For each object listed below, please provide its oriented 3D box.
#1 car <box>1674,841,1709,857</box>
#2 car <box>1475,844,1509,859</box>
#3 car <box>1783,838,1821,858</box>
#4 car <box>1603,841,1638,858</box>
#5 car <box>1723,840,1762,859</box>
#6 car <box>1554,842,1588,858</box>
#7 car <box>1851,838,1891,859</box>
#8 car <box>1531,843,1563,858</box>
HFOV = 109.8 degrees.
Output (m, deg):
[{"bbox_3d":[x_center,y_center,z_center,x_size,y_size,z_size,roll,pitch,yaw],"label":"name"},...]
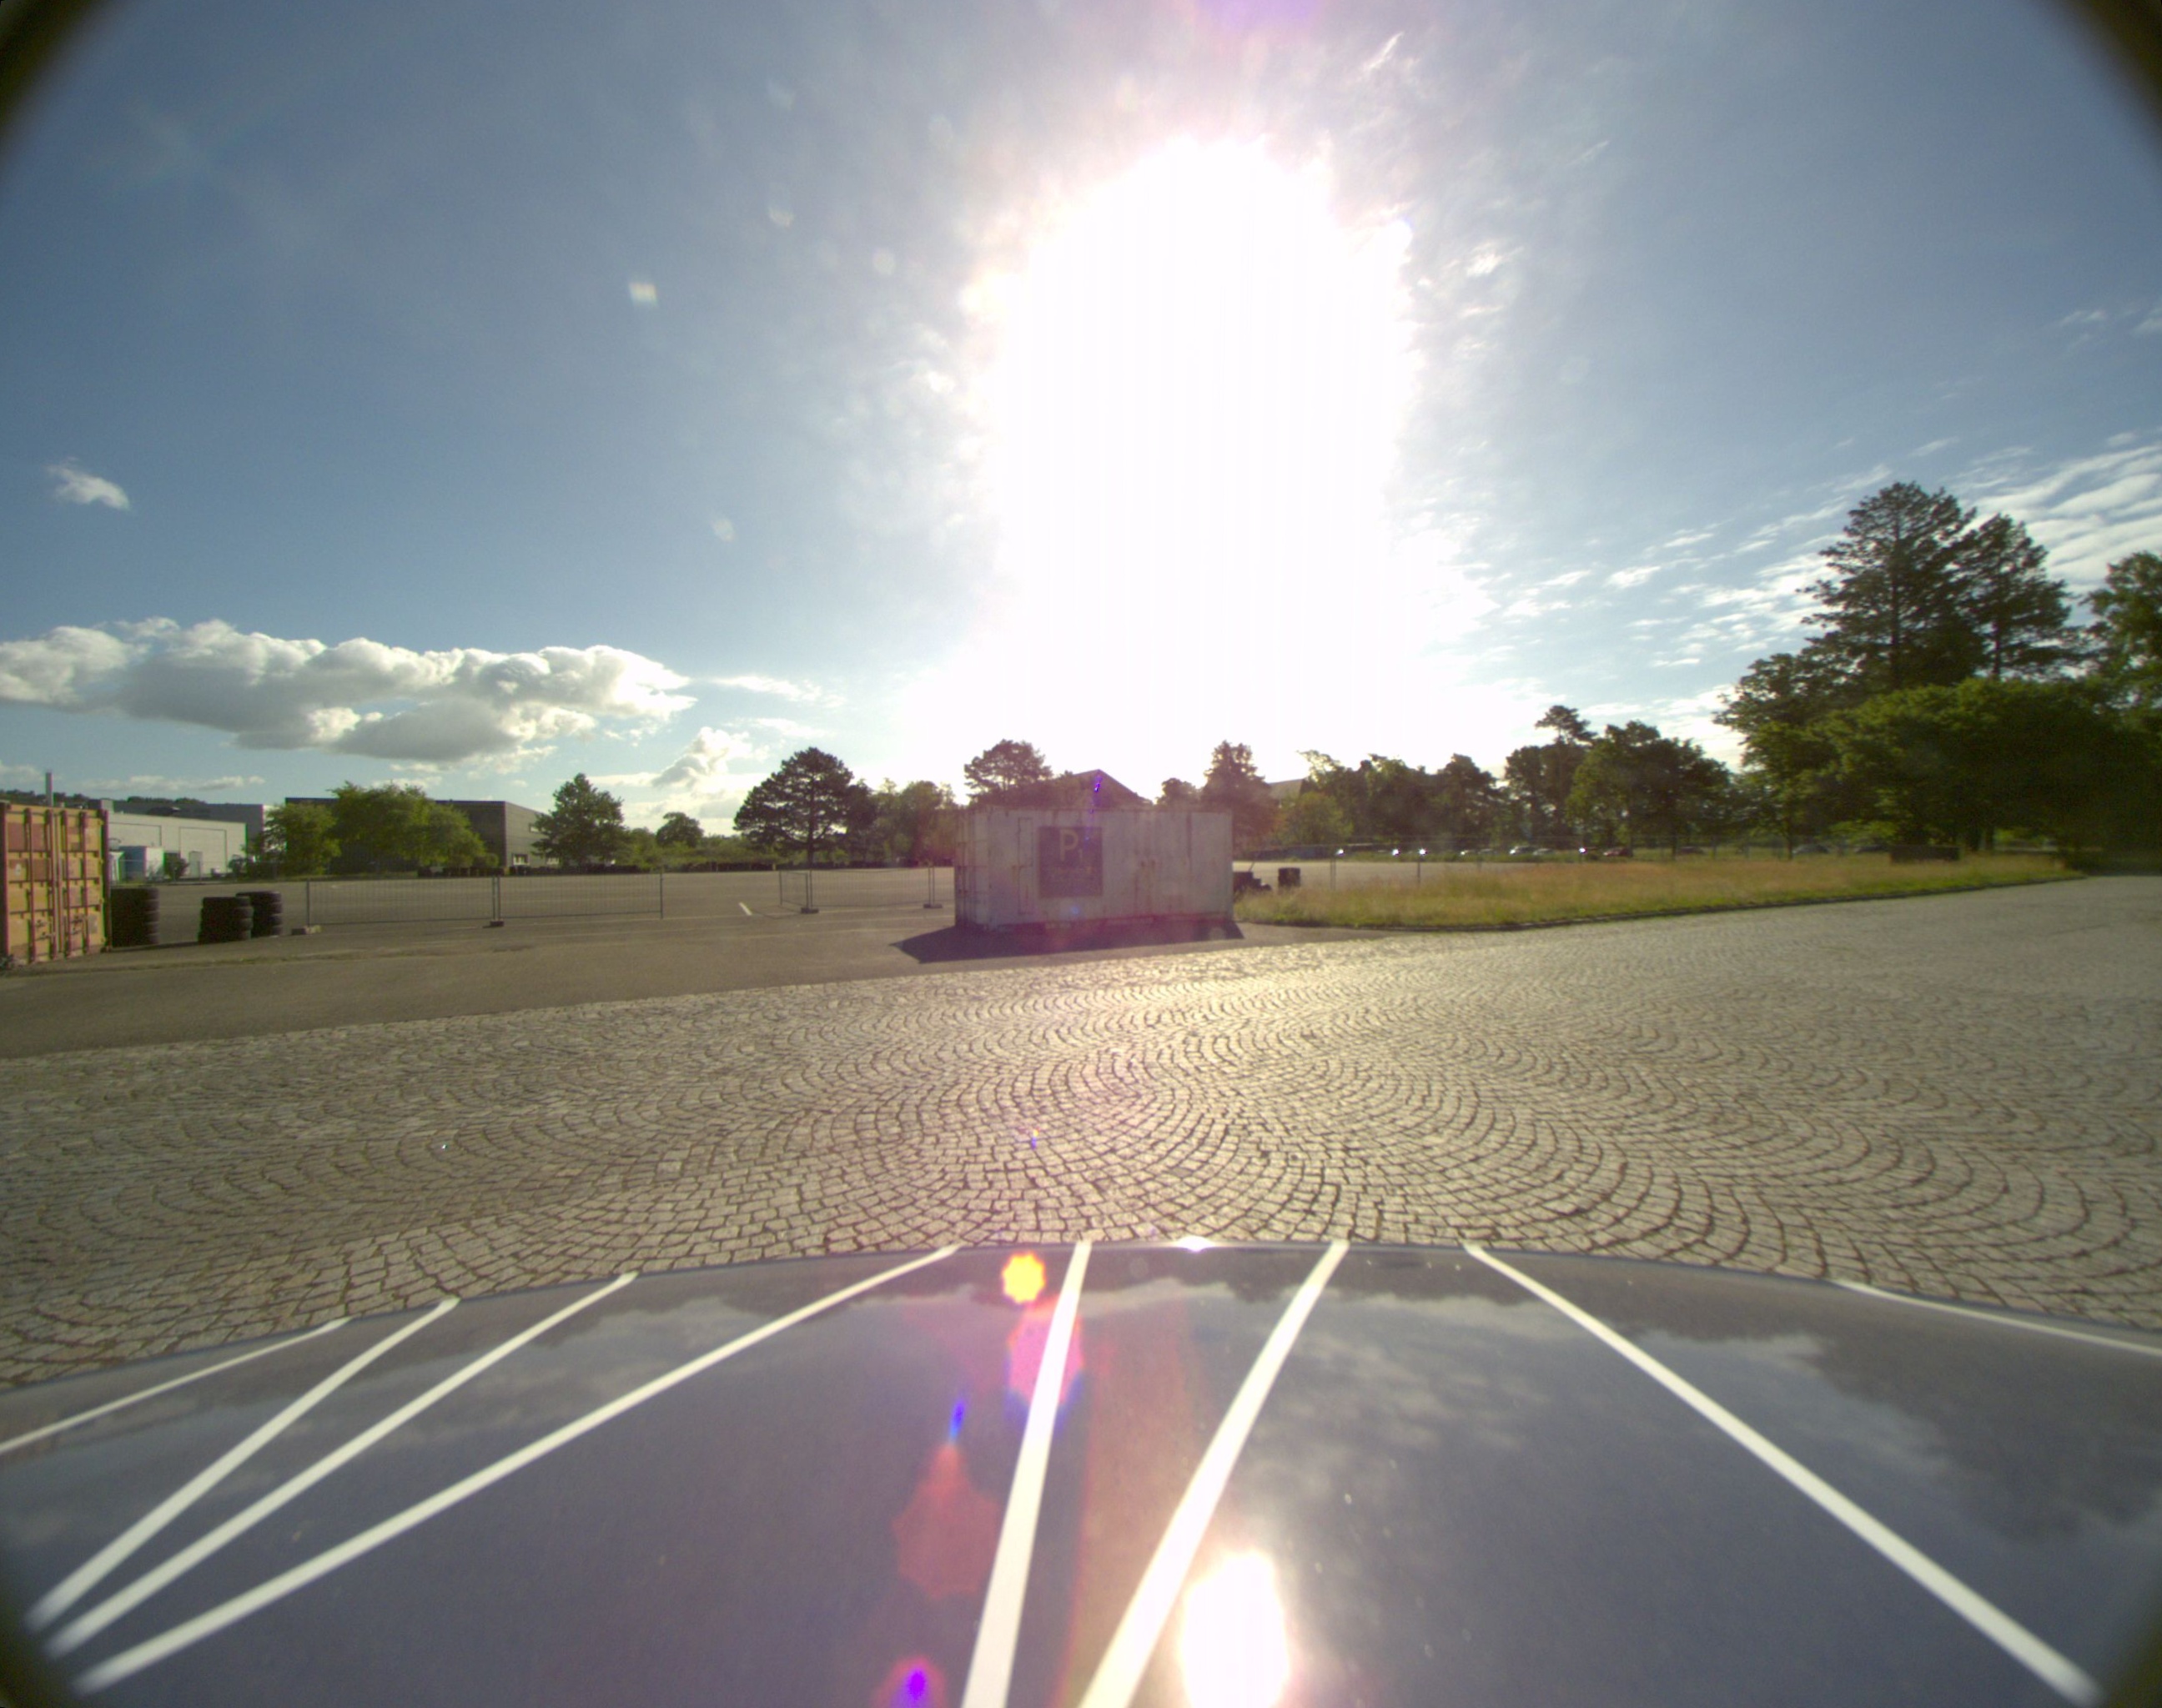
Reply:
[{"bbox_3d":[69.505,-0.594,86.545,4.007,1.805,1.995,-1,1,-34],"label":"car"},{"bbox_3d":[58.624,-0.319,108.298,4.004,2.001,1.997,-2,-2,-20],"label":"car"},{"bbox_3d":[73.735,-0.576,77.659,4.007,2.002,1.995,-1,1,-34],"label":"car"},{"bbox_3d":[66.203,-0.535,93.234,4.006,2.002,1.995,-1,1,-29],"label":"car"},{"bbox_3d":[71.946,-0.520,82.588,4.006,2.002,1.995,-1,1,-30],"label":"car"},{"bbox_3d":[64.325,-0.562,99.777,4.006,2.002,1.995,-1,1,-27],"label":"car"},{"bbox_3d":[75.868,-0.556,72.941,4.007,2.002,1.995,-1,1,-34],"label":"car"},{"bbox_3d":[62.222,-0.498,101.396,4.006,1.936,1.995,-1,1,-29],"label":"car"}]
